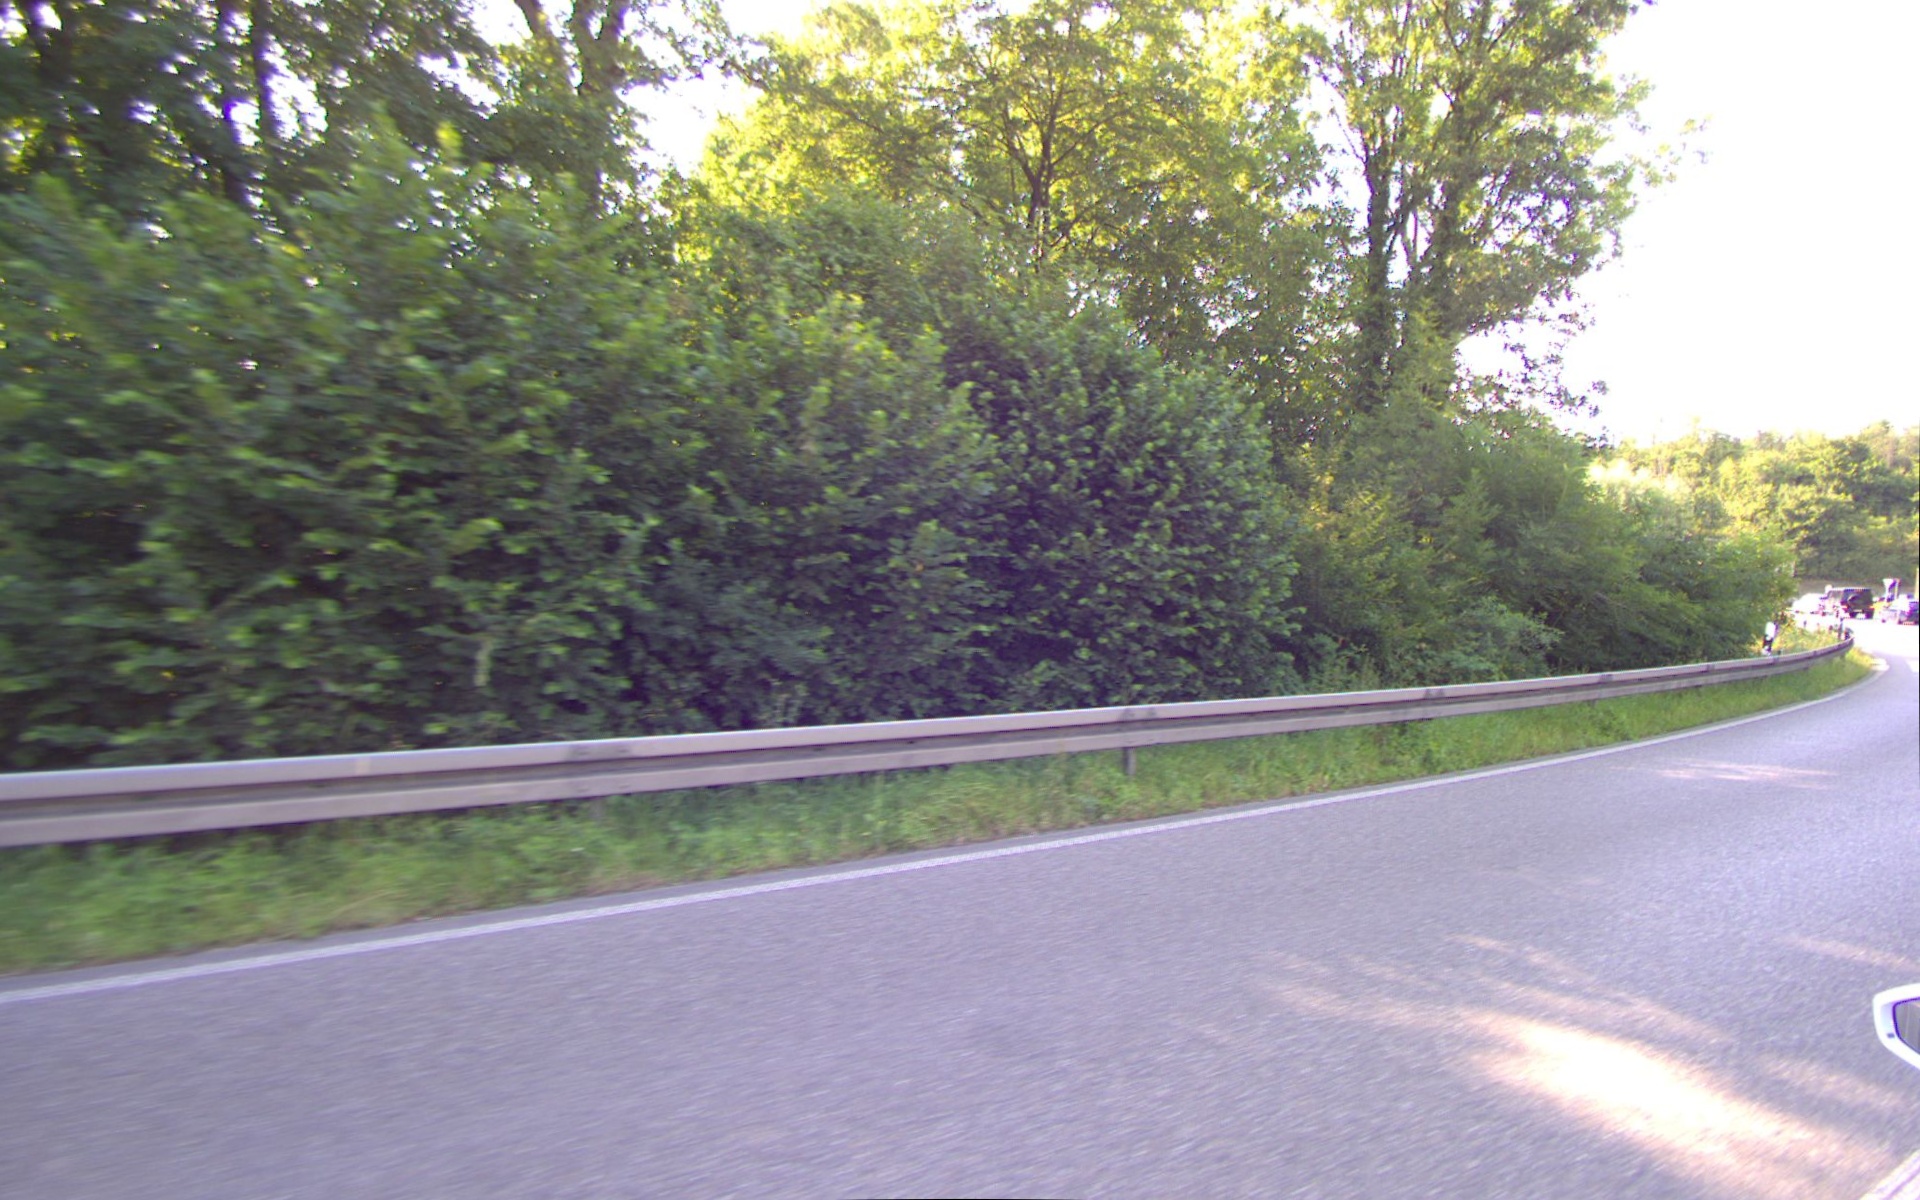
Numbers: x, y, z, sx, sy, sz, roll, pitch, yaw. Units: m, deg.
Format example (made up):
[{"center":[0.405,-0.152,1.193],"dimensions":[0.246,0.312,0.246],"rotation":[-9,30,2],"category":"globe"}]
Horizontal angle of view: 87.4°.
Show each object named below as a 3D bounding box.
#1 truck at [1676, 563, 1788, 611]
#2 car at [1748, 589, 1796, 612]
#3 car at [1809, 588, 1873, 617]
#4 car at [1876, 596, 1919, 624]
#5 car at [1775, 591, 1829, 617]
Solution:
[{"center":[84.046,-1.389,109.446],"dimensions":[10.046,4.647,3.019],"rotation":[3,3,-5],"category":"truck"},{"center":[64.608,0.047,80.026],"dimensions":[1.838,1.616,3.997],"rotation":[4,3,23],"category":"car"},{"center":[58.607,0.139,66.899],"dimensions":[1.925,1.876,3.998],"rotation":[0,1,22],"category":"car"},{"center":[54.983,0.561,58.145],"dimensions":[1.839,1.586,3.994],"rotation":[1,1,27],"category":"car"},{"center":[61.750,0.275,73.761],"dimensions":[1.837,1.706,3.997],"rotation":[4,3,23],"category":"car"}]
